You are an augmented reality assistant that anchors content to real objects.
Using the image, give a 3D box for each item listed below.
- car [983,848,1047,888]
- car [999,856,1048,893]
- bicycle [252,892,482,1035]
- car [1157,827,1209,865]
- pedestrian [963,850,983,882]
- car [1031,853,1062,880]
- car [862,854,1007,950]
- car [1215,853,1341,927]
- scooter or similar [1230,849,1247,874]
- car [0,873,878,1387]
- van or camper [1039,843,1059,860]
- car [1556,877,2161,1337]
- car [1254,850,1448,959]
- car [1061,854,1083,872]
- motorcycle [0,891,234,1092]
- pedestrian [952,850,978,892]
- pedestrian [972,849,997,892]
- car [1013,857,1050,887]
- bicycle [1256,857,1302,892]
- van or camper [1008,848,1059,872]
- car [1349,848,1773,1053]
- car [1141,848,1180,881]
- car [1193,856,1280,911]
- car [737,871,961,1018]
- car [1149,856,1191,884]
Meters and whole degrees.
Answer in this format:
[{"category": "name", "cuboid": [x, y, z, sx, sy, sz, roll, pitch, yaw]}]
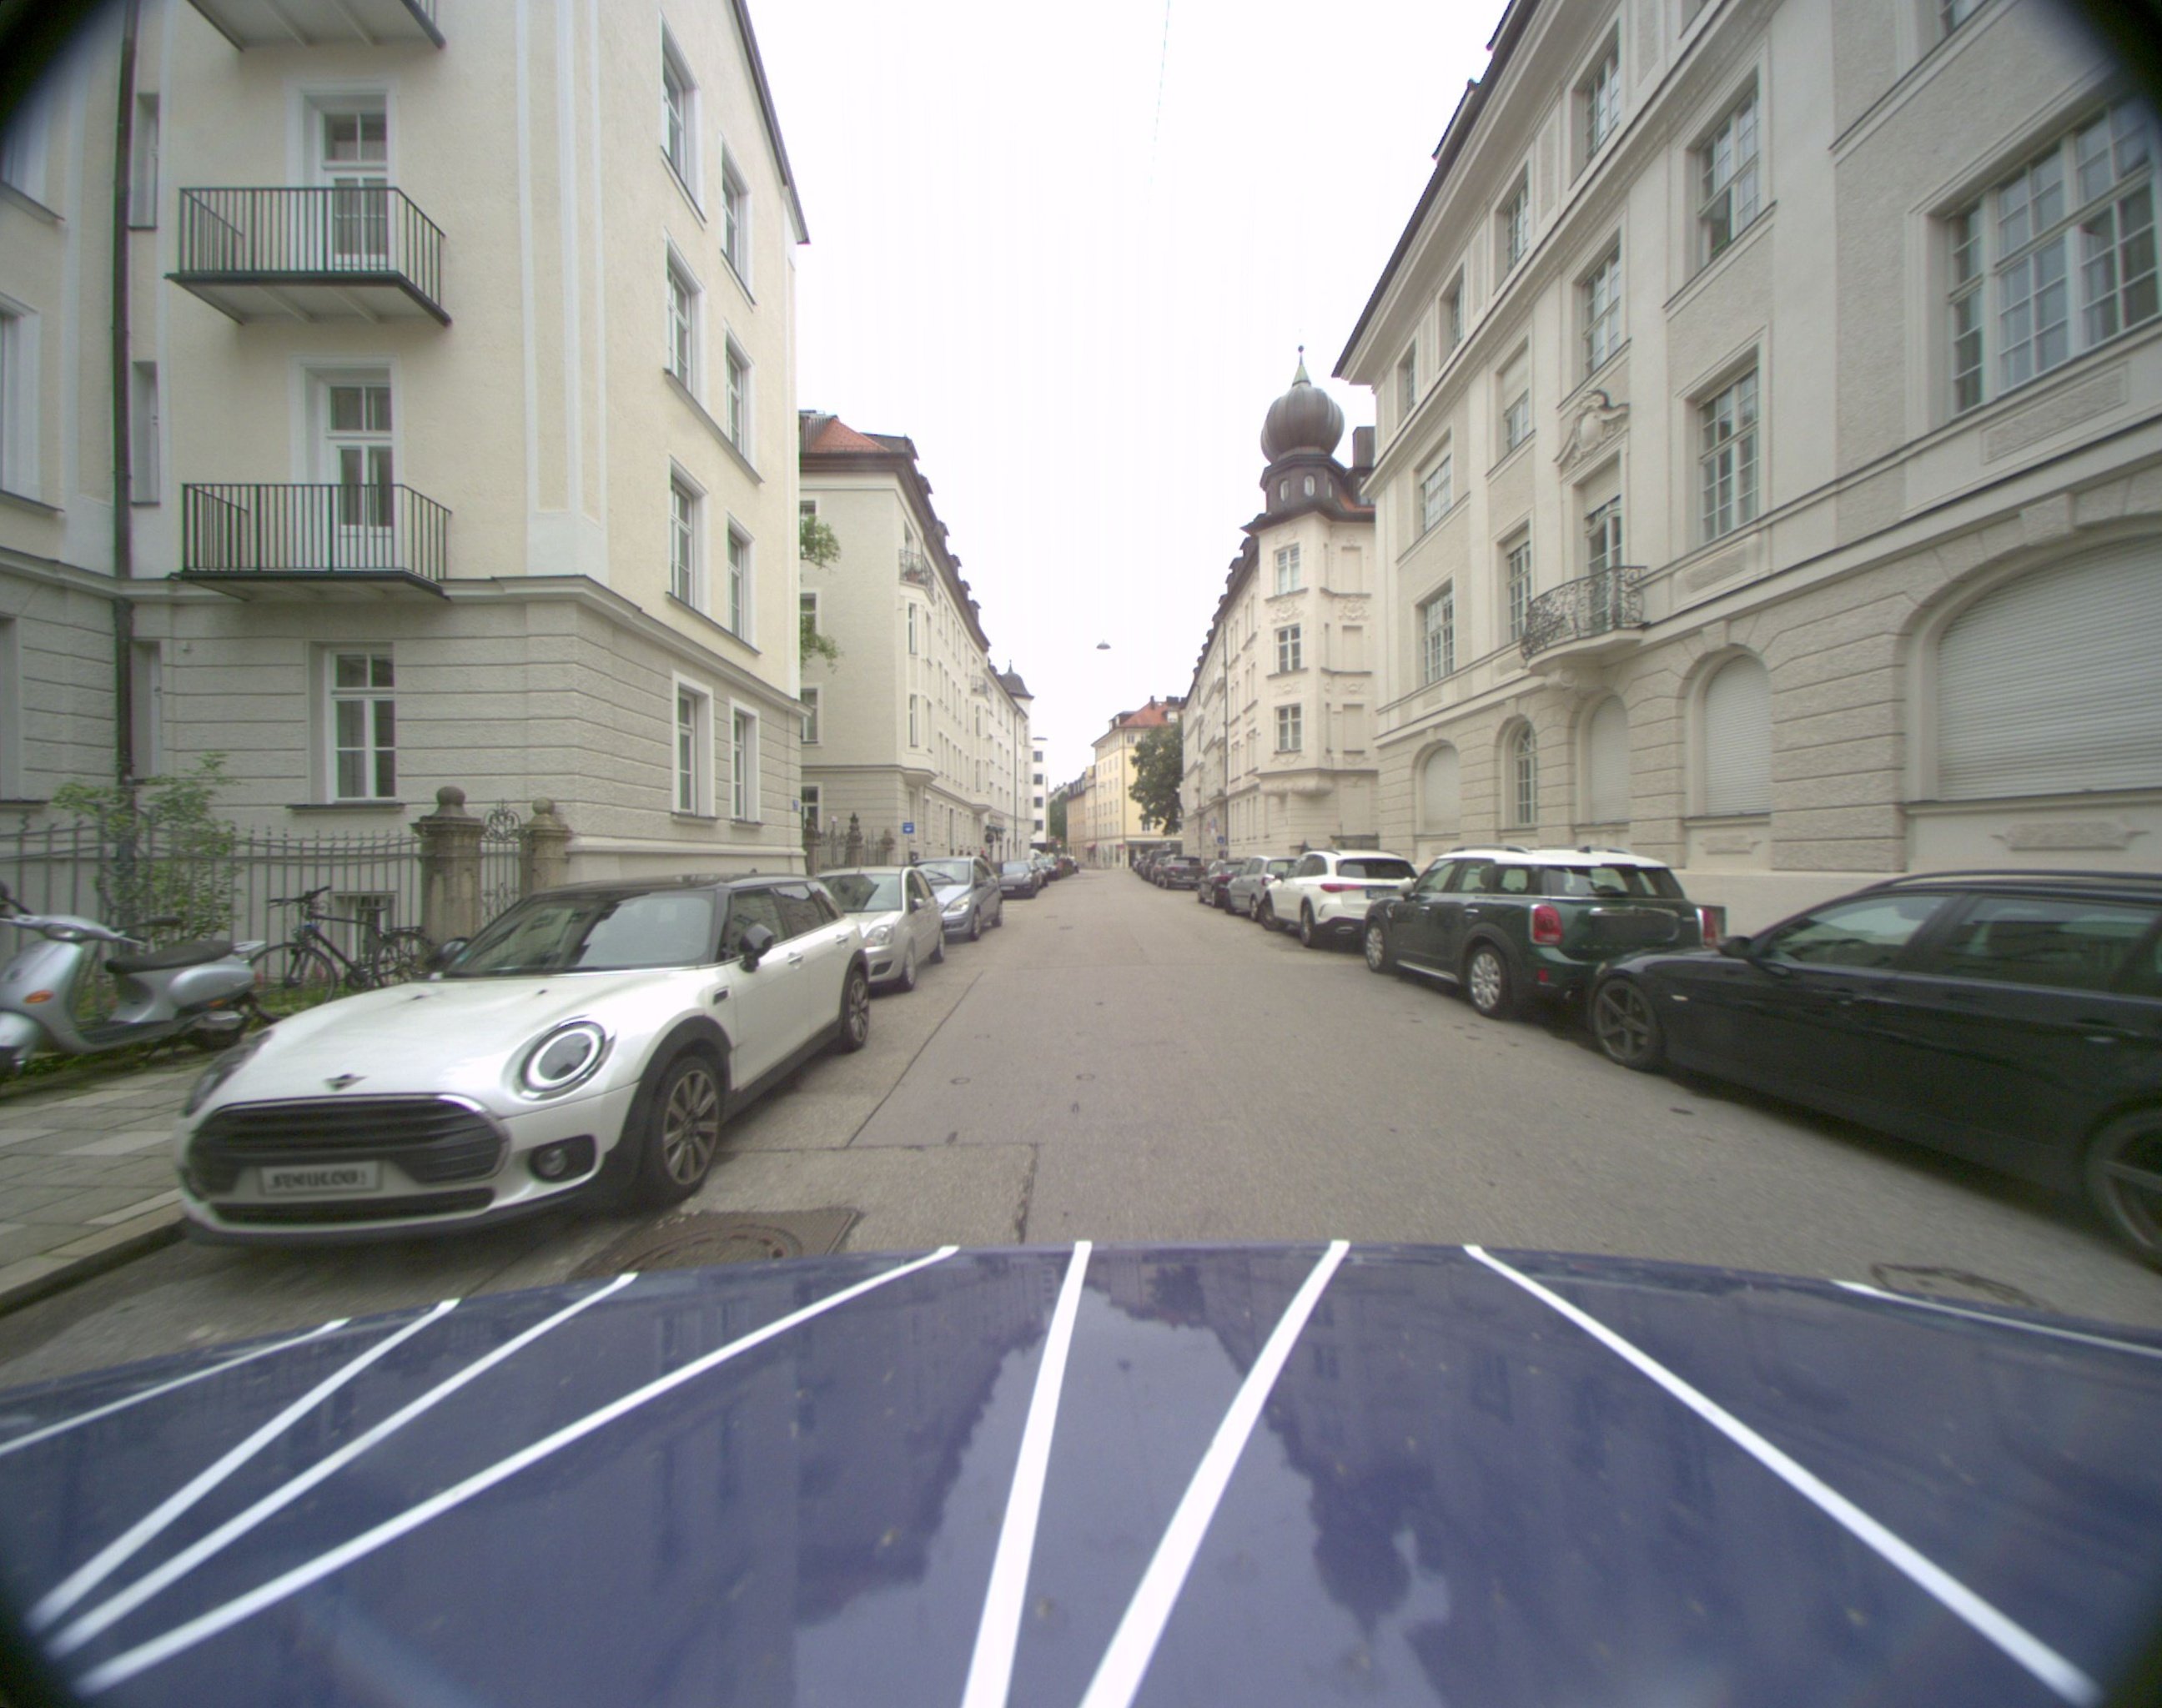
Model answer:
[{"category": "car", "cuboid": [-2.513, 0.491, 30.227, 1.998, 1.449, 4.712, -1, 0, 2]}, {"category": "car", "cuboid": [-2.582, 0.901, 35.035, 1.765, 1.477, 4.420, -3, 0, 1]}, {"category": "bicycle", "cuboid": [-6.845, 0.984, 7.437, 0.435, 1.119, 1.882, 0, 1, 1]}, {"category": "car", "cuboid": [4.602, -0.374, 34.792, 1.731, 1.609, 4.120, 2, 1, -1]}, {"category": "pedestrian", "cuboid": [-6.120, 0.674, 43.034, 0.885, 1.803, 1.111, -1, 1, 1]}, {"category": "car", "cuboid": [-2.201, 0.771, 49.681, 1.804, 1.665, 4.189, -2, 0, 0]}, {"category": "car", "cuboid": [-2.759, 0.843, 15.363, 1.826, 1.560, 4.401, -3, 0, 2]}, {"category": "car", "cuboid": [4.732, 0.790, 18.883, 1.787, 1.532, 4.255, 2, 1, -3]}, {"category": "scooter or similar", "cuboid": [7.902, 0.369, 38.205, 0.533, 1.193, 1.548, 0, 1, 1]}, {"category": "car", "cuboid": [-2.678, 0.956, 4.505, 1.789, 1.496, 4.064, -1, 1, 0]}, {"category": "van or camper", "cuboid": [-5.021, -0.383, 118.264, 1.968, 2.494, 5.716, -1, 0, -14]}, {"category": "car", "cuboid": [4.482, 0.893, 3.547, 1.791, 1.404, 4.366, 0, 0, 0]}, {"category": "car", "cuboid": [4.539, 0.745, 13.608, 1.920, 1.609, 4.571, 0, 0, 1]}, {"category": "car", "cuboid": [-0.829, 0.835, 74.079, 1.841, 1.609, 4.095, -3, 0, 2]}, {"category": "motorcycle", "cuboid": [-6.615, 0.837, 4.631, 0.608, 1.106, 1.965, 0, 1, 4]}, {"category": "pedestrian", "cuboid": [-4.973, 0.716, 32.565, 0.885, 1.776, 1.111, -1, 1, 2]}, {"category": "pedestrian", "cuboid": [-4.118, 0.686, 32.493, 0.885, 1.801, 1.111, -1, 1, 2]}, {"category": "car", "cuboid": [-2.601, 0.927, 40.608, 1.841, 1.391, 4.972, -2, 0, -3]}, {"category": "bicycle", "cuboid": [8.044, 0.794, 31.036, 1.154, 1.235, 2.716, -4, 1, 1]}, {"category": "van or camper", "cuboid": [-5.669, 0.772, 89.930, 5.869, 2.697, 2.304, 0, -2, -6]}, {"category": "car", "cuboid": [4.544, 0.755, 8.124, 1.841, 1.609, 4.244, 0, 0, 0]}, {"category": "car", "cuboid": [4.792, 0.582, 46.326, 1.841, 1.883, 4.763, 1, 0, 0]}, {"category": "car", "cuboid": [4.699, 0.840, 23.580, 1.797, 1.407, 4.278, 2, 1, 0]}, {"category": "car", "cuboid": [-2.728, 0.999, 9.764, 1.758, 1.398, 3.451, -1, 1, 0]}, {"category": "car", "cuboid": [4.705, 0.816, 40.852, 1.841, 1.386, 4.244, 2, 0, 1]}]
